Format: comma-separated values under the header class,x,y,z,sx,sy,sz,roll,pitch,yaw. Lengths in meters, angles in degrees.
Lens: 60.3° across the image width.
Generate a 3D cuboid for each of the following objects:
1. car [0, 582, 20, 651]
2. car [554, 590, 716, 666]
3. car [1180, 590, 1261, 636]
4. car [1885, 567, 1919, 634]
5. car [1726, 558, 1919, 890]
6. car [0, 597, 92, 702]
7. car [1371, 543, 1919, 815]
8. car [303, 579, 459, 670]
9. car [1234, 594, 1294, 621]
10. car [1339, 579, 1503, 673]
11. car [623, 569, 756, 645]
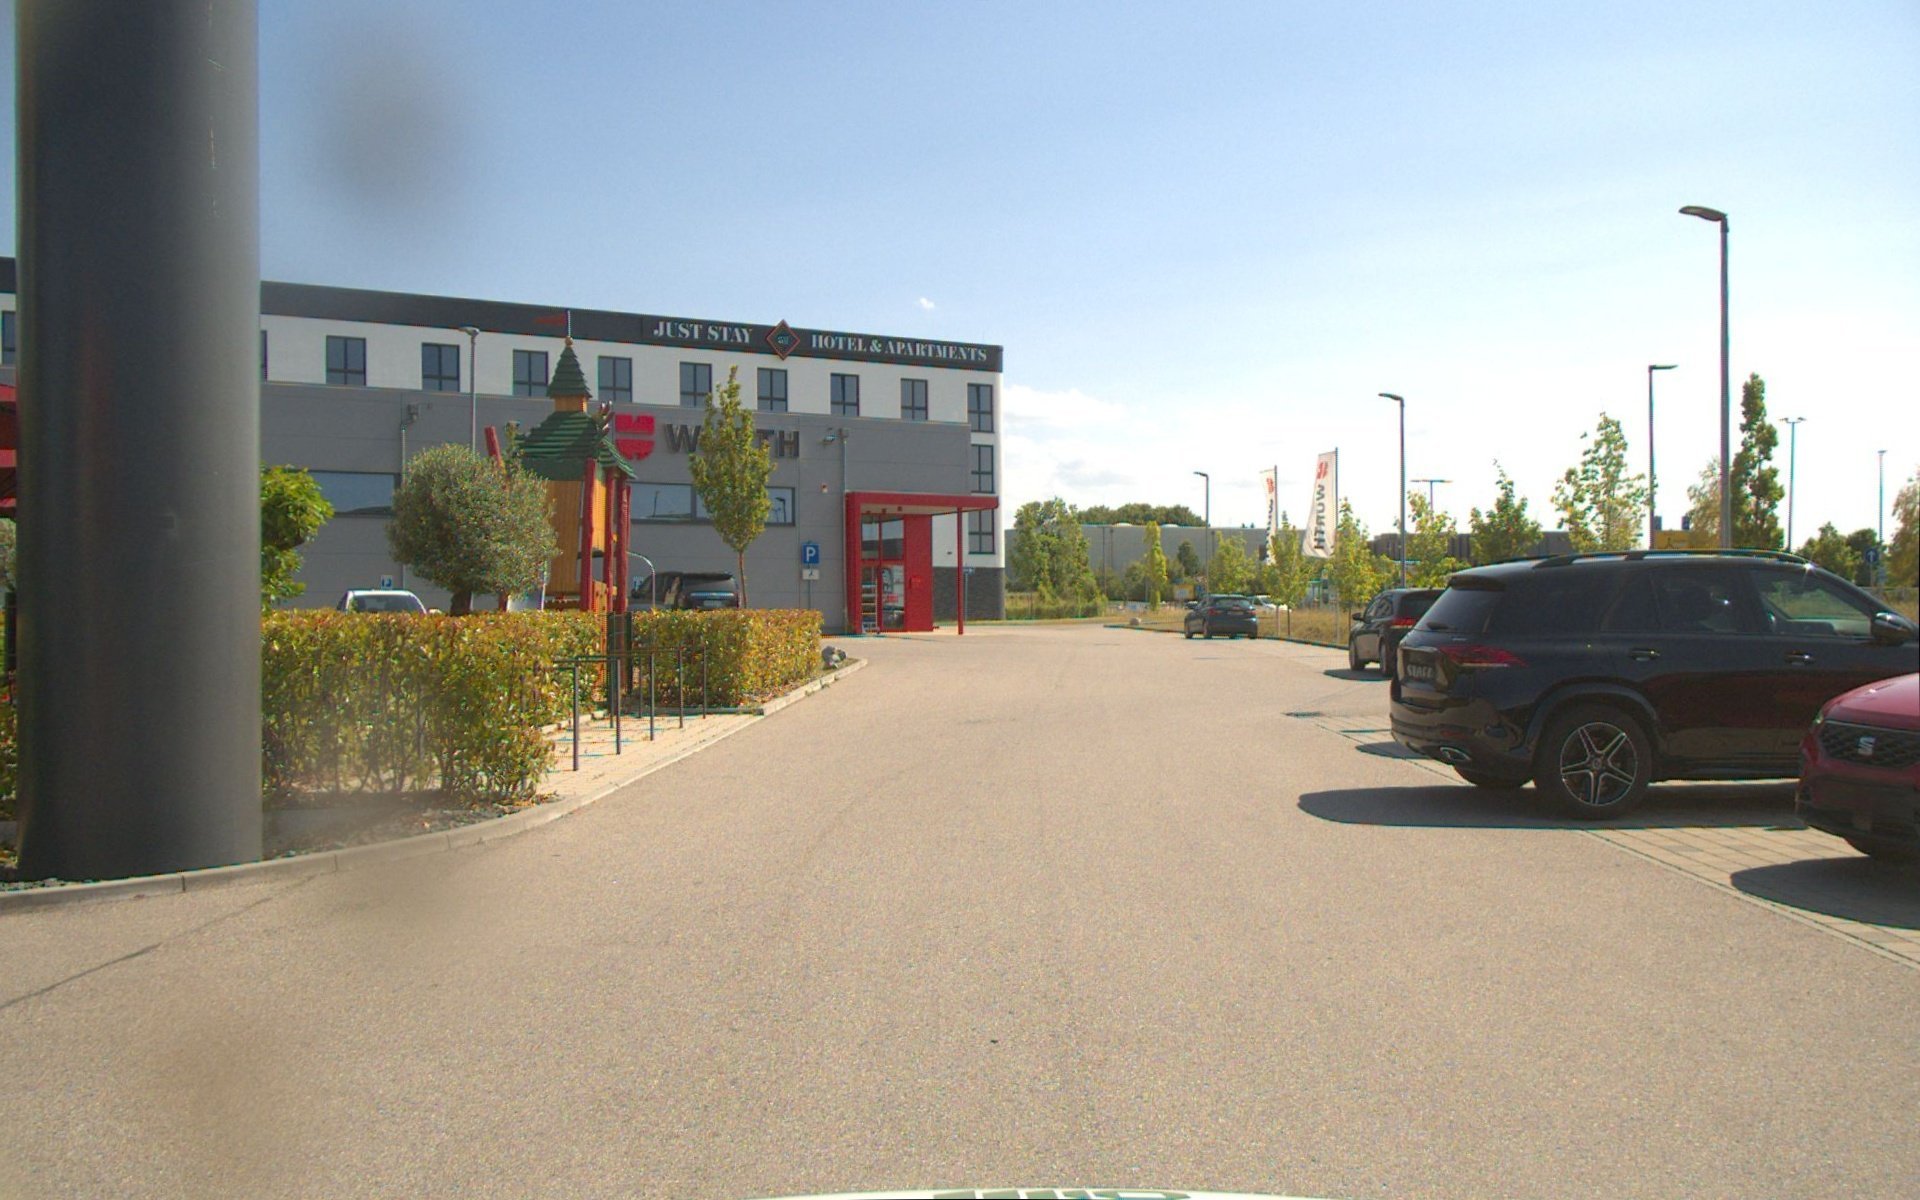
class,x,y,z,sx,sy,sz,roll,pitch,yaw
car,-22.366,0.356,37.521,1.714,1.513,3.909,-1,1,-31
car,-6.603,0.512,33.242,1.844,1.386,4.330,-1,1,-31
car,8.457,0.397,53.899,1.666,1.431,3.892,0,0,-6
car,26.549,0.017,43.248,1.953,1.763,4.757,0,1,-2
car,6.539,0.617,9.120,4.005,1.637,1.886,0,1,-18
car,-13.254,0.637,22.736,1.616,1.331,3.823,-1,0,-17
car,5.464,0.536,11.985,4.484,1.791,1.894,0,0,-3
car,-10.871,0.392,30.867,1.928,1.557,4.330,-1,1,-31
car,17.947,0.444,97.812,1.843,1.509,3.980,0,1,-18
car,8.149,0.415,29.618,1.798,1.502,4.121,-2,0,1
car,-7.389,0.151,44.782,2.049,1.913,4.831,-1,1,-29
